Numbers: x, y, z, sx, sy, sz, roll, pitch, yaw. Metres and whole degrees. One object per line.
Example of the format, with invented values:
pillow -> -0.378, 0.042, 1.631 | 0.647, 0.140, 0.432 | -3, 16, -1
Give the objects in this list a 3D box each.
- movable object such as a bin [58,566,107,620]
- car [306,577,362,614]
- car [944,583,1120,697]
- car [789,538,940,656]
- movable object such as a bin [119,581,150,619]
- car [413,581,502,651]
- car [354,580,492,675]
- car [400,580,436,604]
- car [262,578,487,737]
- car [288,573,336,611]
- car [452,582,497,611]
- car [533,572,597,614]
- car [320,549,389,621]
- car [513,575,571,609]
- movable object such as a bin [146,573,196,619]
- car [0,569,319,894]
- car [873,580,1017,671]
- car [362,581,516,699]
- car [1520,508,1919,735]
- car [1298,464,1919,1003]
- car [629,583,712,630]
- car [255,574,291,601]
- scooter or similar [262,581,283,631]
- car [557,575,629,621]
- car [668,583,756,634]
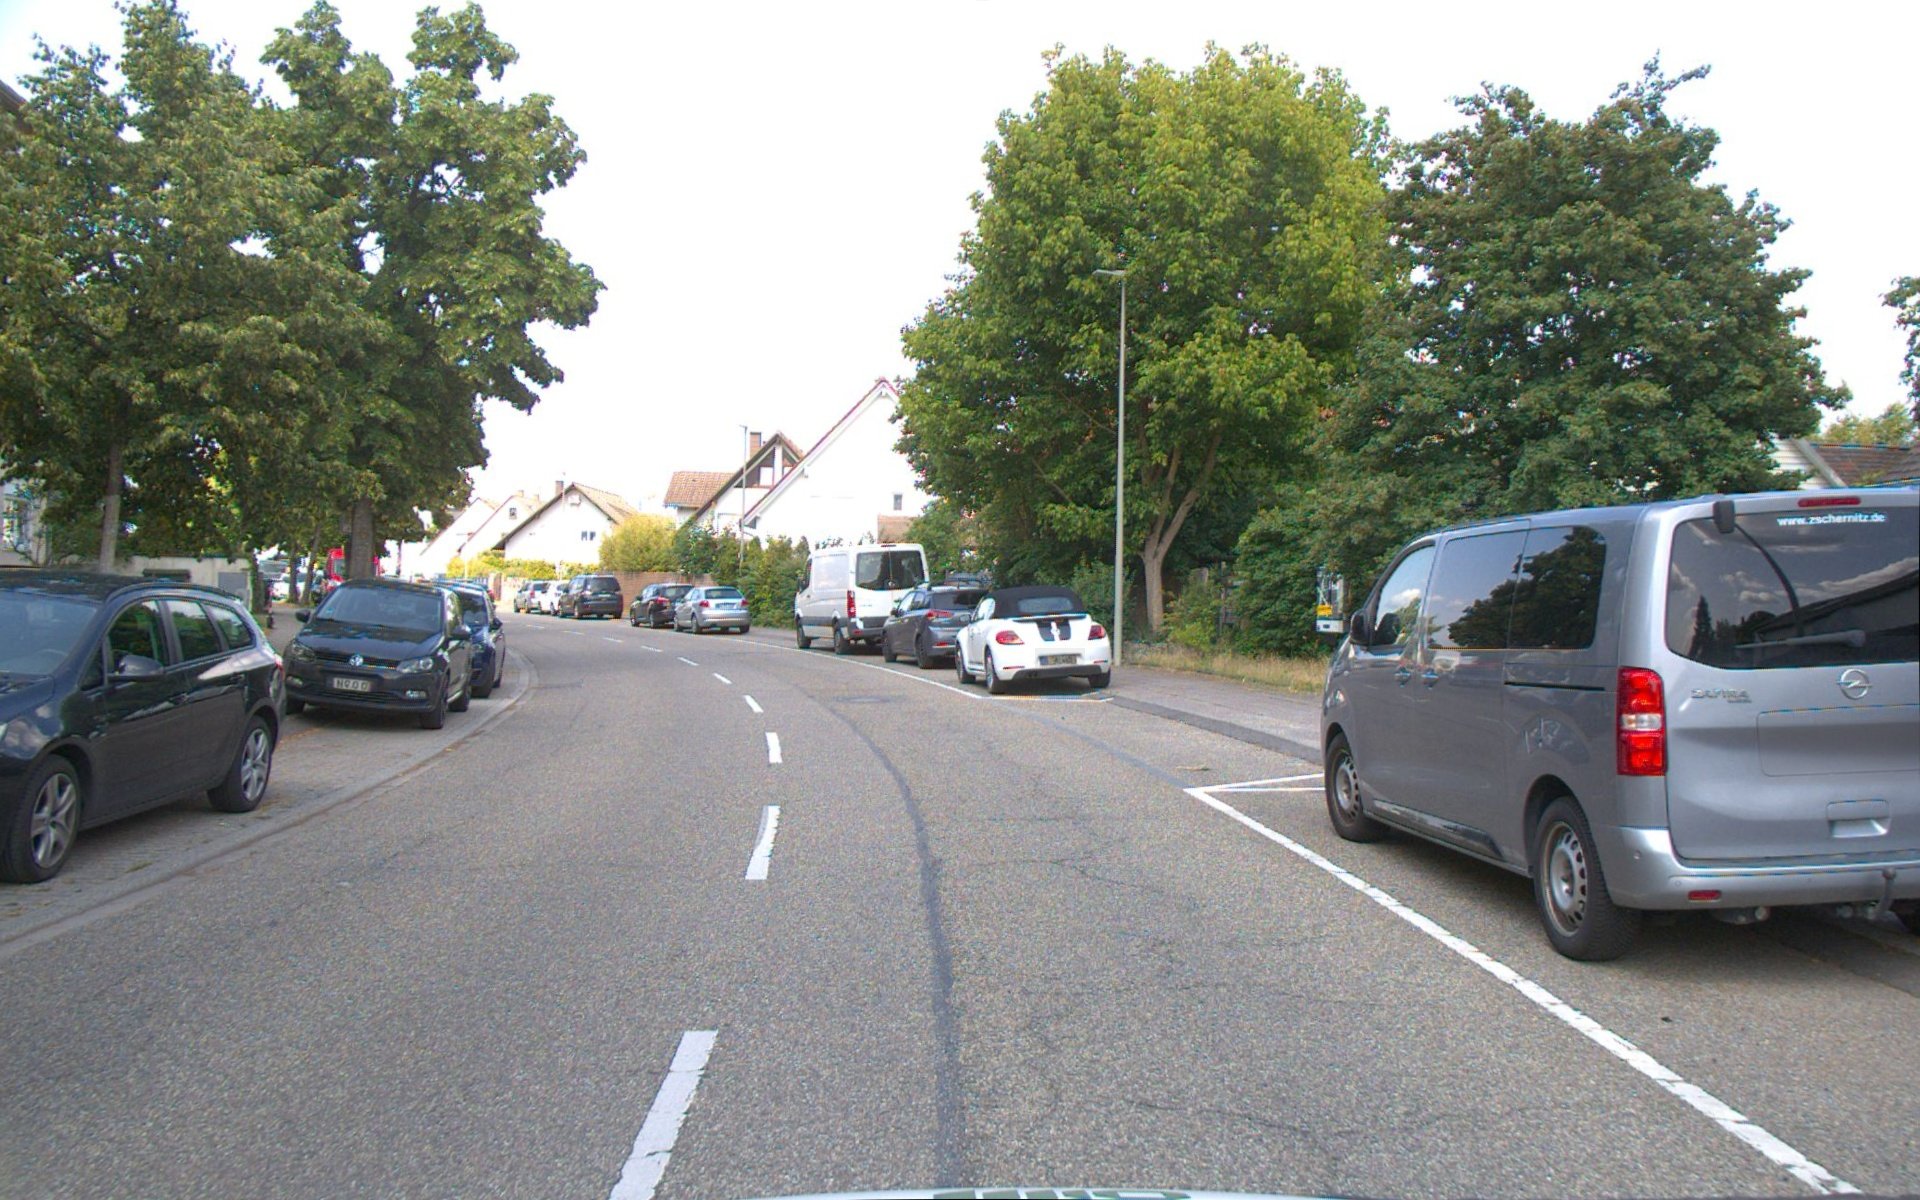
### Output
movable object such as a bin -> -25.627, -0.221, 48.332 | 1.181, 1.462, 1.361 | 0, 4, -25
car -> -28.525, -0.203, 75.247 | 1.767, 1.483, 4.395 | 6, -2, -28
car -> 0.987, 0.548, 25.138 | 1.708, 1.539, 4.447 | 2, 0, -10
car -> -2.314, -0.091, 38.157 | 2.084, 2.483, 5.866 | 1, 0, -17
movable object such as a bin -> -24.512, -0.007, 49.113 | 0.614, 1.042, 0.875 | 1, 4, -14
car -> -12.223, 0.352, 40.062 | 1.735, 1.515, 4.317 | 3, 0, -21
car -> -9.429, 0.454, 29.333 | 1.805, 1.464, 4.079 | 4, 0, -12
car -> -37.371, -0.585, 113.935 | 1.773, 1.550, 4.493 | 1, 0, -26
car -> -6.383, 0.560, 18.443 | 1.729, 1.515, 4.022 | 3, 0, -11
car -> -33.908, -0.439, 86.483 | 1.767, 1.776, 4.395 | 6, -2, -28
car -> -27.196, -0.207, 92.527 | 1.773, 1.550, 3.940 | 1, 0, -26
car -> -17.488, -0.314, 73.104 | 1.774, 1.779, 3.936 | 1, 0, -28
car -> -24.089, -0.603, 65.665 | 2.037, 2.544, 5.797 | 6, -1, -24
car -> -19.564, -0.386, 77.340 | 1.774, 1.550, 3.938 | 1, 0, -27
movable object such as a bin -> -23.547, -0.118, 49.364 | 1.172, 1.296, 0.875 | 1, 4, -14
car -> -5.387, 0.587, 9.519 | 1.725, 1.515, 4.503 | 2, 0, -2
car -> -0.366, 0.451, 31.937 | 1.690, 1.613, 4.105 | 1, 0, -17
car -> -7.591, 0.563, 24.463 | 1.730, 1.515, 4.555 | 3, -1, -13
car -> 8.549, 0.213, 16.788 | 5.227, 2.093, 2.001 | 2, 0, 14
car -> 3.291, 0.472, 8.615 | 1.806, 1.978, 4.873 | -1, 0, -3
car -> -10.001, 0.198, 56.852 | 1.715, 1.535, 4.441 | 1, 0, -25
car -> -46.316, -0.840, 111.512 | 1.767, 1.629, 4.395 | 6, -2, -28
scooter or similar -> -16.983, 0.138, 40.874 | 0.413, 1.186, 1.133 | 2, 0, -21
car -> -15.006, -0.101, 67.520 | 1.774, 1.779, 4.543 | 1, 0, -27
car -> -7.804, 0.232, 51.775 | 1.713, 1.483, 4.335 | 1, 0, -23
